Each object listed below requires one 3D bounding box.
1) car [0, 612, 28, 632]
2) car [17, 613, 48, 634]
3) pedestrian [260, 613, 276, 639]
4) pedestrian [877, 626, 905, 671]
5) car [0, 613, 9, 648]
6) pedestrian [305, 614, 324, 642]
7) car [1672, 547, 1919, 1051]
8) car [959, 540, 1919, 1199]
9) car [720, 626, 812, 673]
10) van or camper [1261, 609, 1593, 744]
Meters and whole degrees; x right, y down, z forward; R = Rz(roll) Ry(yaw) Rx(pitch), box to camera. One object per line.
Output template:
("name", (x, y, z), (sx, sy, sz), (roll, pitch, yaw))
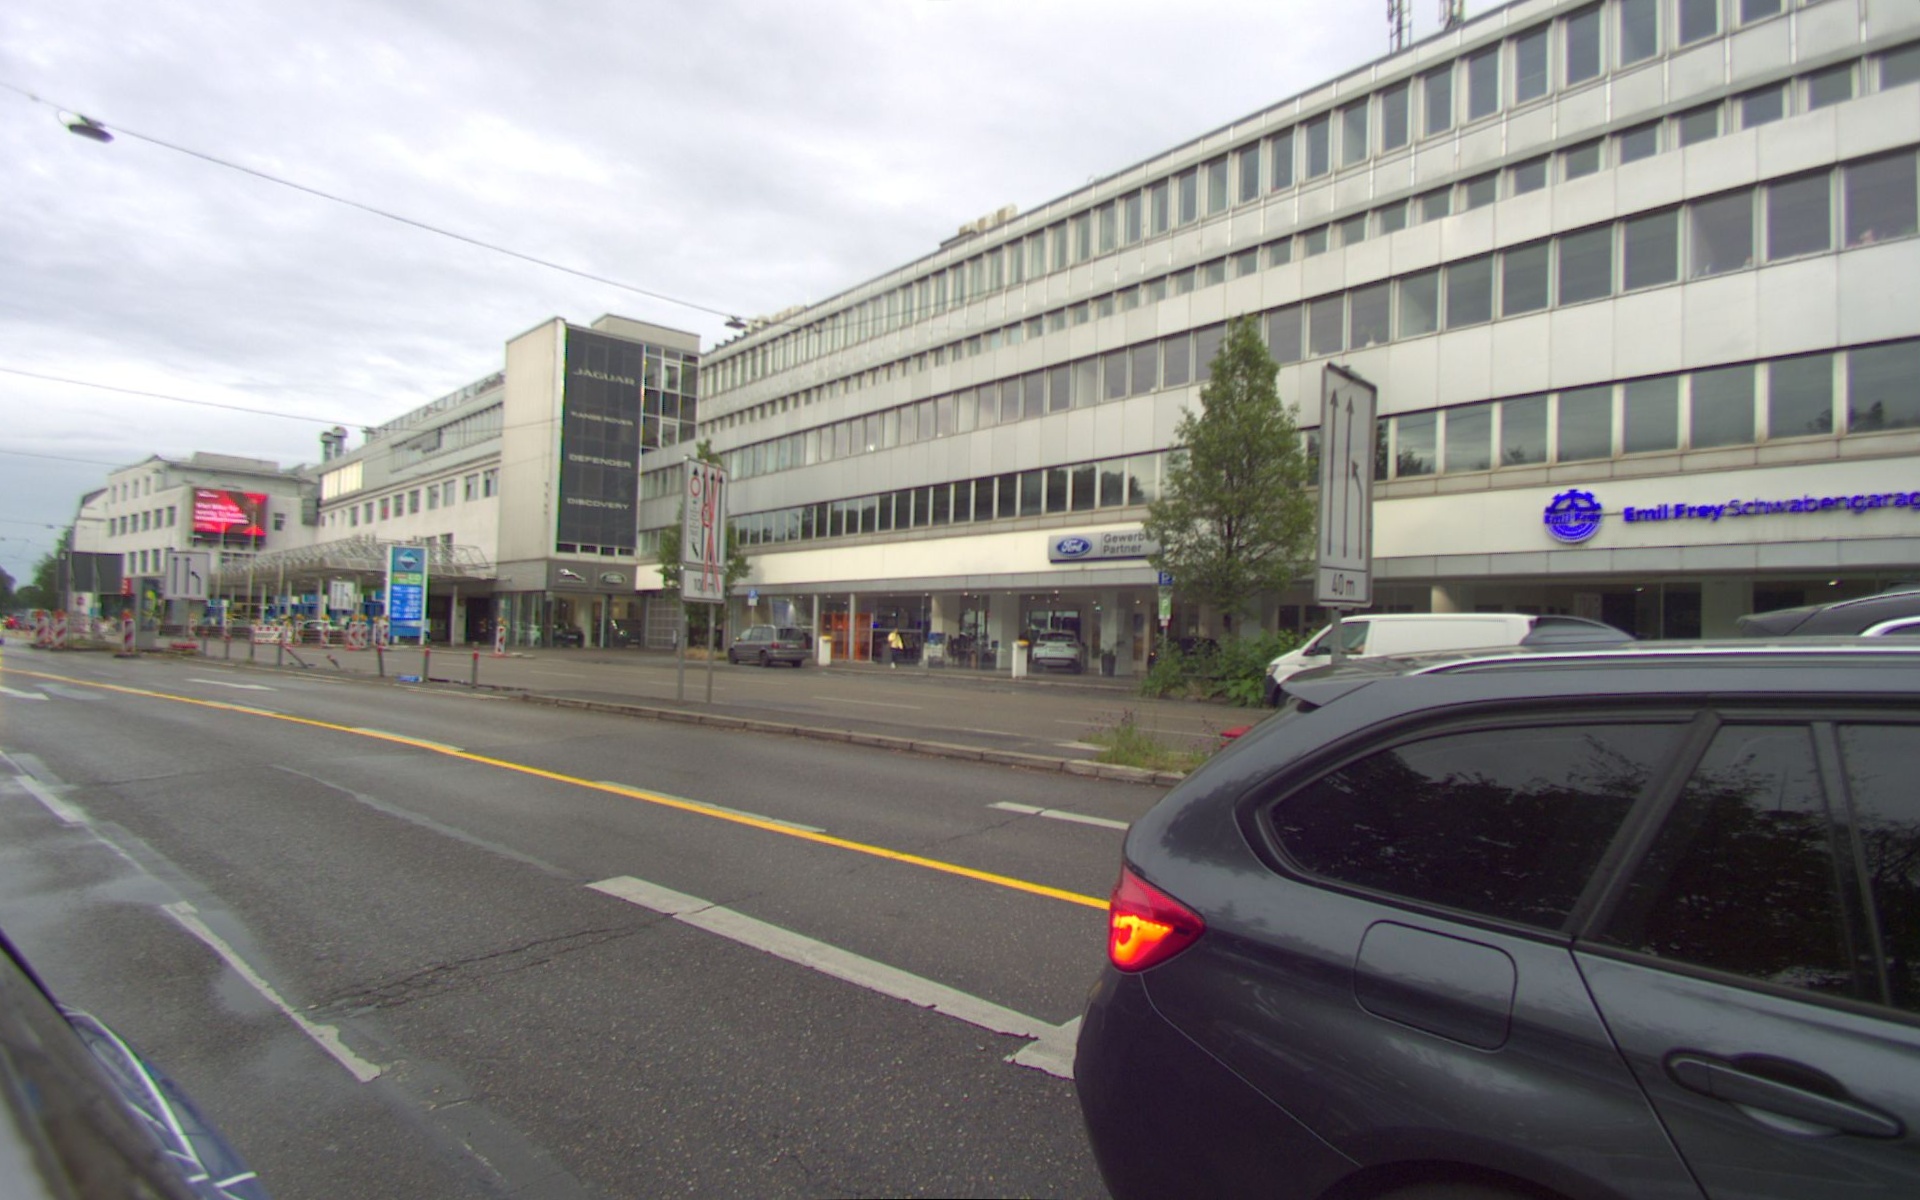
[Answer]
("car", (-88.233, 2.021, 94.213), (3.727, 1.777, 1.775), (-1, 0, 42))
("car", (-77.875, 1.950, 84.977), (3.378, 1.657, 1.587), (-1, 0, 42))
("pedestrian", (-49.370, 1.839, 72.182), (0.881, 1.828, 0.943), (-1, 0, -35))
("pedestrian", (-2.793, 1.939, 40.777), (0.750, 1.788, 0.865), (-1, 0, -42))
("car", (-41.527, 1.302, 42.807), (1.745, 1.425, 4.339), (-1, 0, -41))
("pedestrian", (-42.492, 1.854, 66.595), (0.882, 1.828, 0.942), (-1, 0, -45))
("car", (4.904, 0.636, 2.923), (4.445, 1.668, 1.789), (-1, 0, 44))
("car", (2.242, 0.691, 1.199), (4.476, 1.469, 1.757), (-1, -3, 42))
("car", (-8.331, 2.072, 43.256), (1.895, 1.829, 4.169), (-1, 0, -44))
("van or camper", (7.644, 1.170, 16.944), (1.913, 1.938, 4.688), (3, -3, -44))
